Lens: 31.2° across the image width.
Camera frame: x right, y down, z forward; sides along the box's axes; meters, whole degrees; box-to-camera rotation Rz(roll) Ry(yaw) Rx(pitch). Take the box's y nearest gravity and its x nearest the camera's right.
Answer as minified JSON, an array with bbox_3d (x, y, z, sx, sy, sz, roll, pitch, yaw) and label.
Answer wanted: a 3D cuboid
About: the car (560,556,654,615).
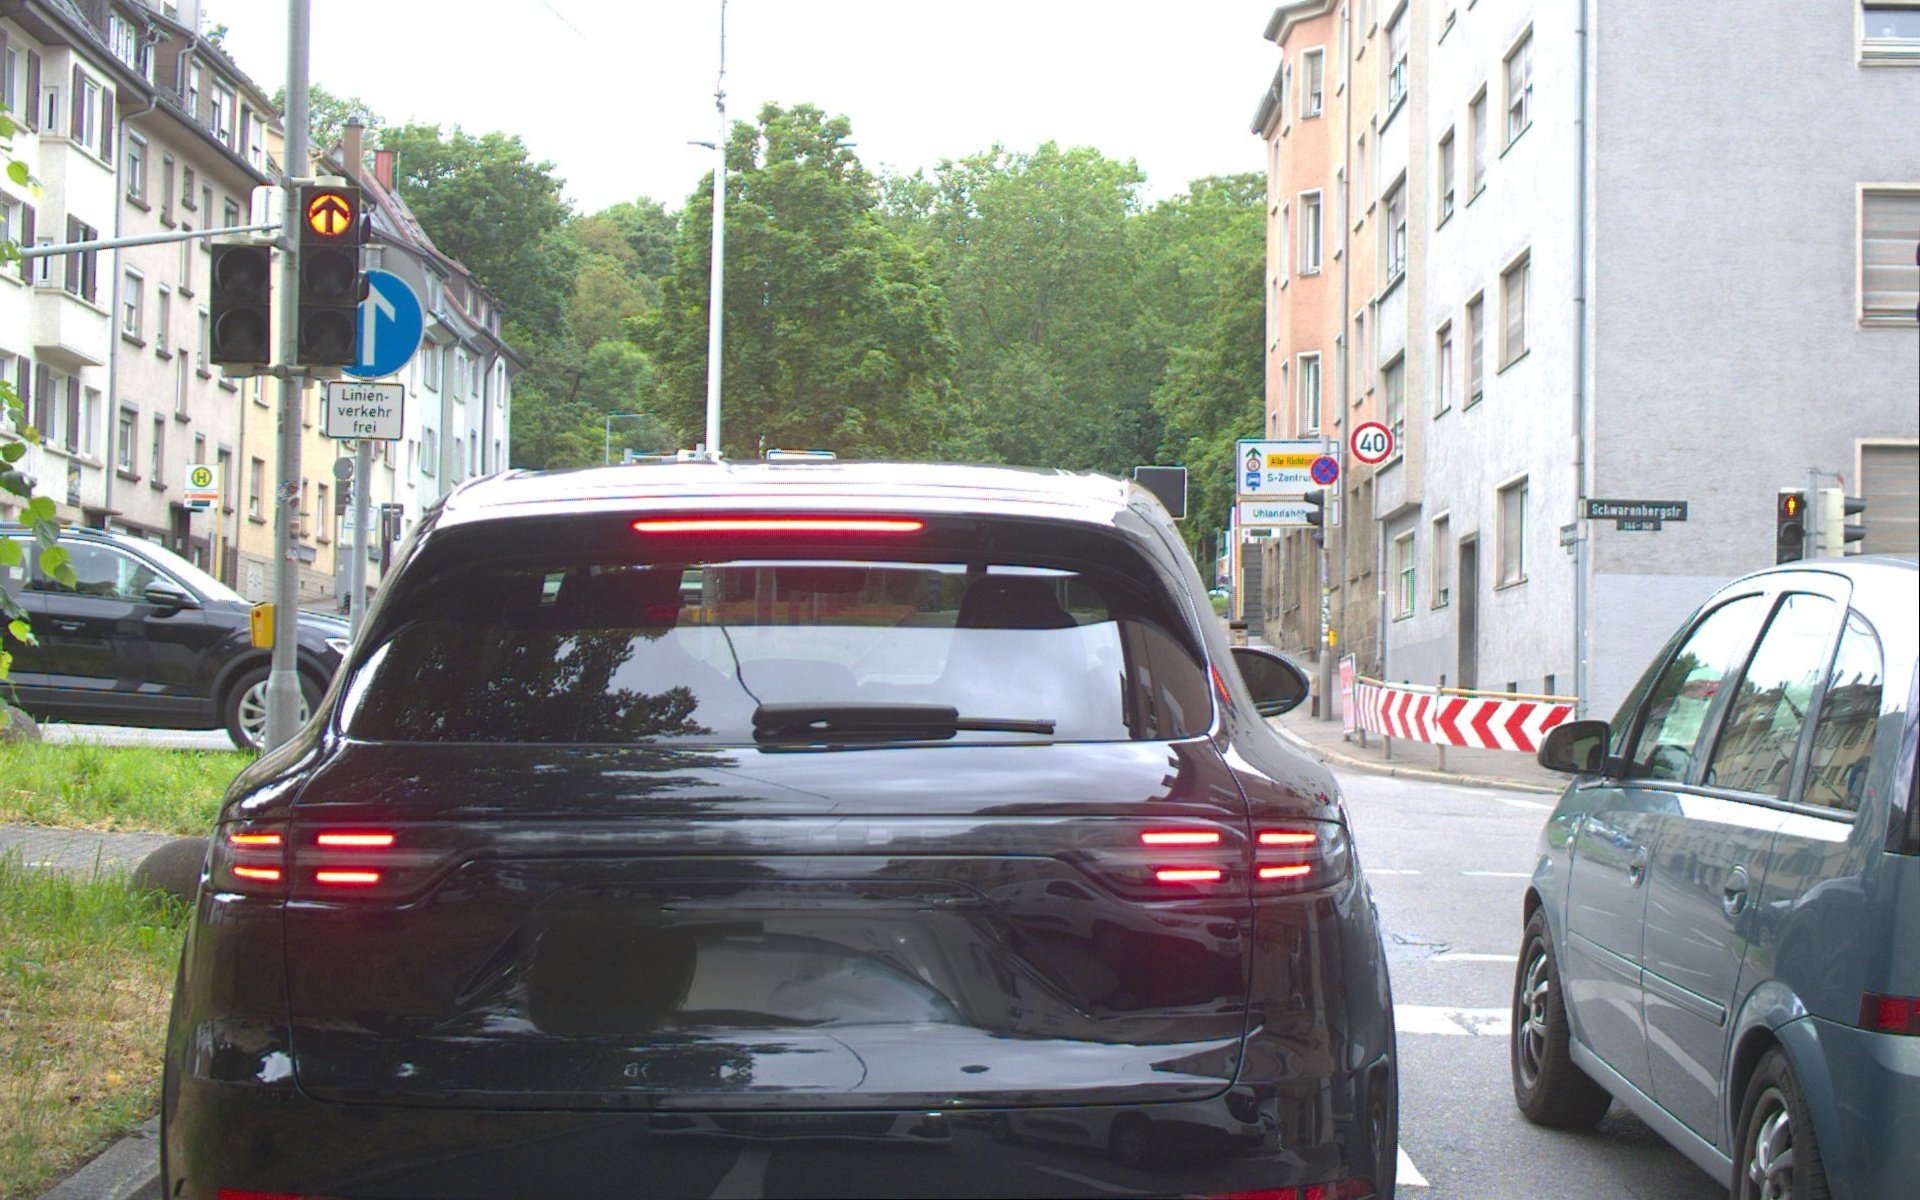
[{"bbox_3d":[-8.547,-0.364,83.583,1.862,1.383,4.094,1,1,0],"label":"car"}]

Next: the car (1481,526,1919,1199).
[{"bbox_3d":[2.357,0.699,7.878,1.628,1.592,3.669,4,1,-1],"label":"car"}]

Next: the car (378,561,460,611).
[{"bbox_3d":[-15.518,-0.418,98.722,1.739,1.382,3.814,1,1,0],"label":"car"}]

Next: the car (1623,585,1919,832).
[{"bbox_3d":[6.926,0.799,23.967,4.251,1.589,1.690,2,-1,2],"label":"car"}]

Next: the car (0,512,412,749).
[{"bbox_3d":[-5.956,0.186,23.652,4.236,1.516,1.667,2,0,-8],"label":"car"}]

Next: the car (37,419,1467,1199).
[{"bbox_3d":[-0.308,0.568,6.711,1.955,1.669,4.000,0,1,-1],"label":"car"}]

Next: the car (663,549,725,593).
[{"bbox_3d":[-9.907,-1.085,128.499,1.974,1.605,4.558,1,1,0],"label":"car"}]

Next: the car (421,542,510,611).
[{"bbox_3d":[-15.028,-0.723,104.633,2.016,2.038,4.667,1,1,0],"label":"car"}]

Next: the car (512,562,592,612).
[{"bbox_3d":[-12.428,-0.417,104.925,1.844,1.481,3.898,1,1,2],"label":"car"}]
